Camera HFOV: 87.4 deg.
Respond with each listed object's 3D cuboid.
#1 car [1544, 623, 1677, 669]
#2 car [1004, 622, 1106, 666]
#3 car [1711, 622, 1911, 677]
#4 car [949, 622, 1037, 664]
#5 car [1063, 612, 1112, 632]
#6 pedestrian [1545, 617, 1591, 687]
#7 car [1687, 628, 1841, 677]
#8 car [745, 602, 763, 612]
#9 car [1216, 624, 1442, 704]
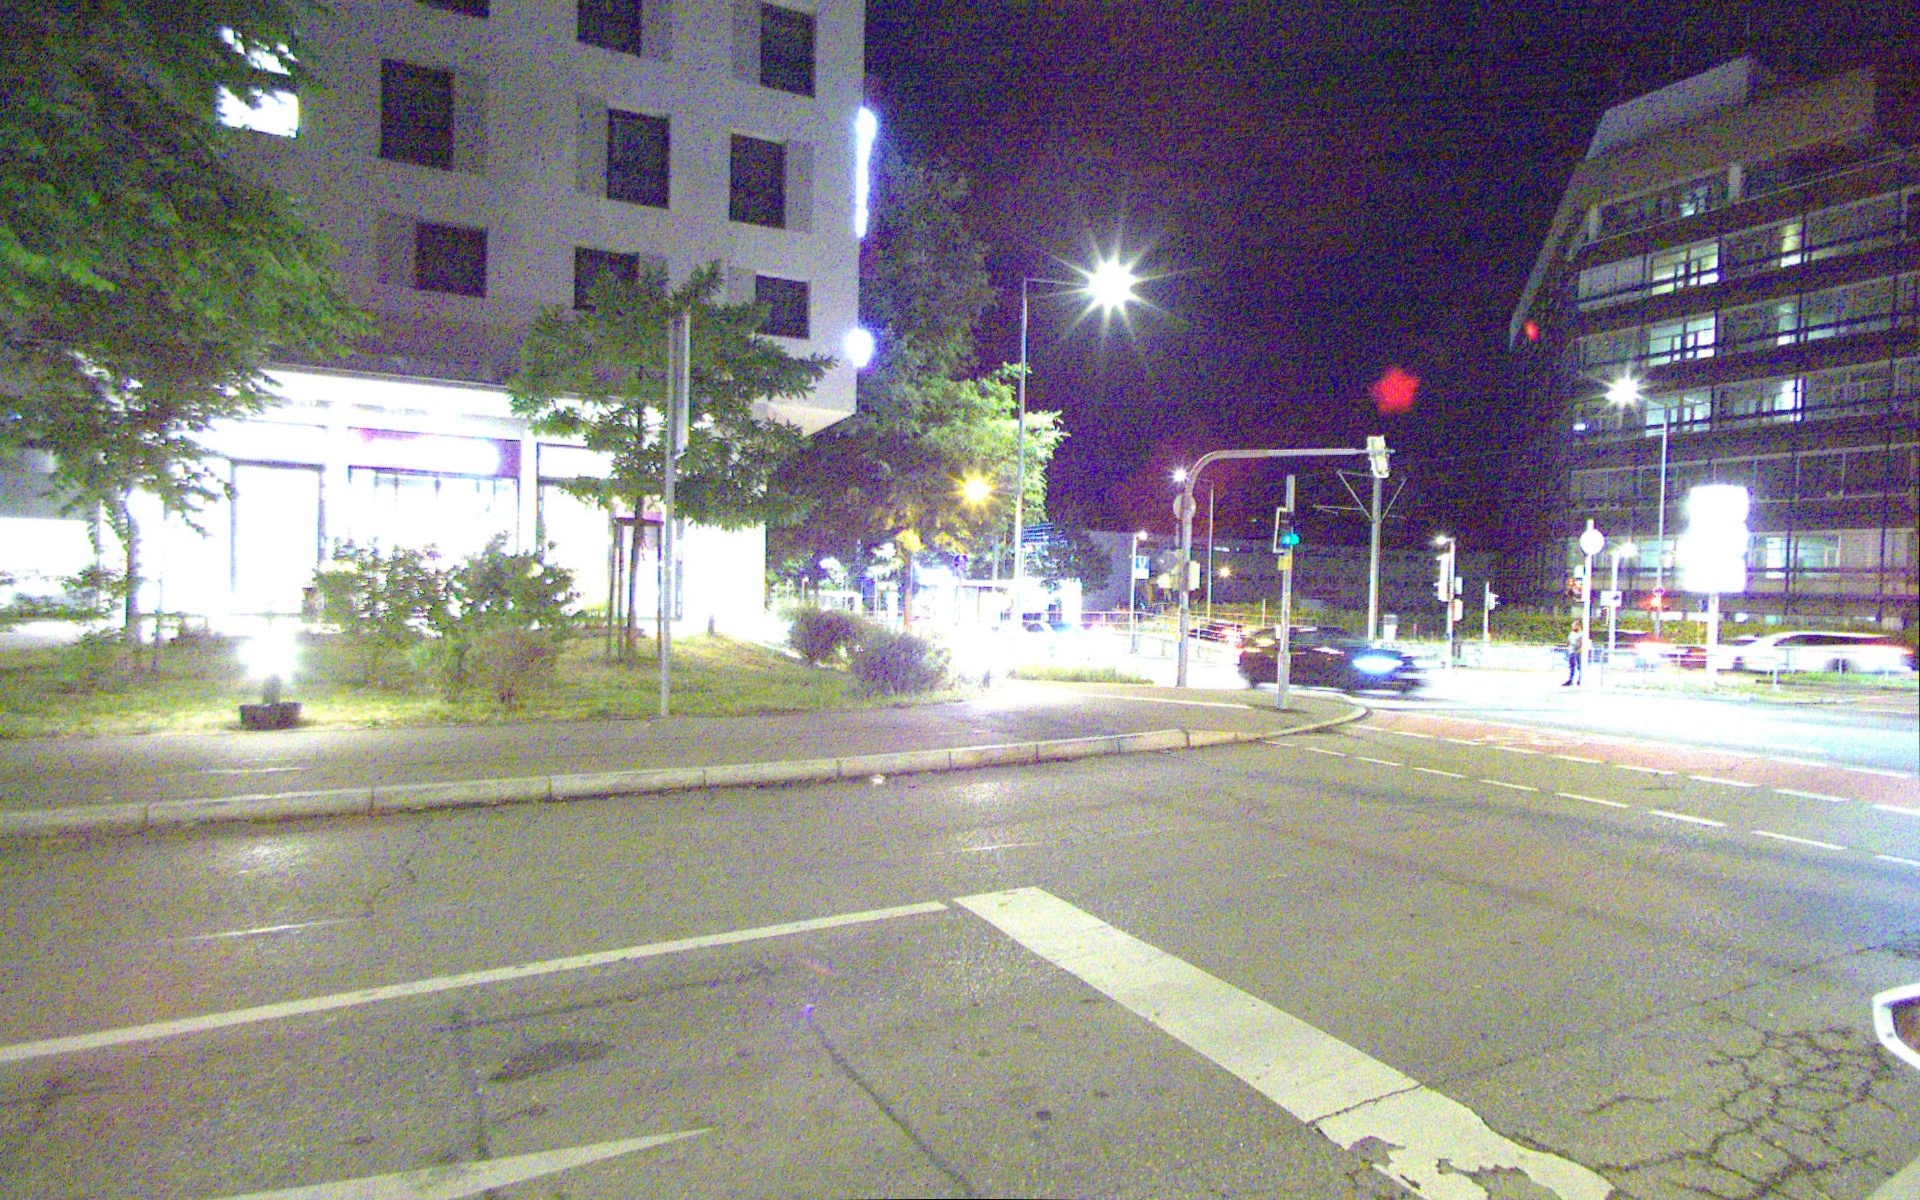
[{"bbox_3d":[26.401,1.851,40.936,1.779,1.606,4.221,3,0,-25],"label":"car"},{"bbox_3d":[3.654,1.679,39.704,1.722,1.620,4.905,0,-1,-26],"label":"car"},{"bbox_3d":[27.124,1.525,32.204,1.823,1.606,4.553,0,-1,-27],"label":"car"},{"bbox_3d":[1.168,1.563,37.852,1.722,1.456,3.889,1,-1,-26],"label":"car"},{"bbox_3d":[9.730,1.680,76.879,1.818,1.443,4.047,-1,0,-26],"label":"car"},{"bbox_3d":[15.656,1.335,25.868,0.693,1.745,0.679,2,0,-4],"label":"pedestrian"},{"bbox_3d":[30.765,1.996,38.579,1.863,1.606,4.217,3,-1,-27],"label":"car"},{"bbox_3d":[-33.447,1.150,162.936,1.845,1.506,3.822,3,0,-26],"label":"car"},{"bbox_3d":[7.966,1.321,22.246,1.722,1.493,4.905,1,-1,-26],"label":"car"}]
